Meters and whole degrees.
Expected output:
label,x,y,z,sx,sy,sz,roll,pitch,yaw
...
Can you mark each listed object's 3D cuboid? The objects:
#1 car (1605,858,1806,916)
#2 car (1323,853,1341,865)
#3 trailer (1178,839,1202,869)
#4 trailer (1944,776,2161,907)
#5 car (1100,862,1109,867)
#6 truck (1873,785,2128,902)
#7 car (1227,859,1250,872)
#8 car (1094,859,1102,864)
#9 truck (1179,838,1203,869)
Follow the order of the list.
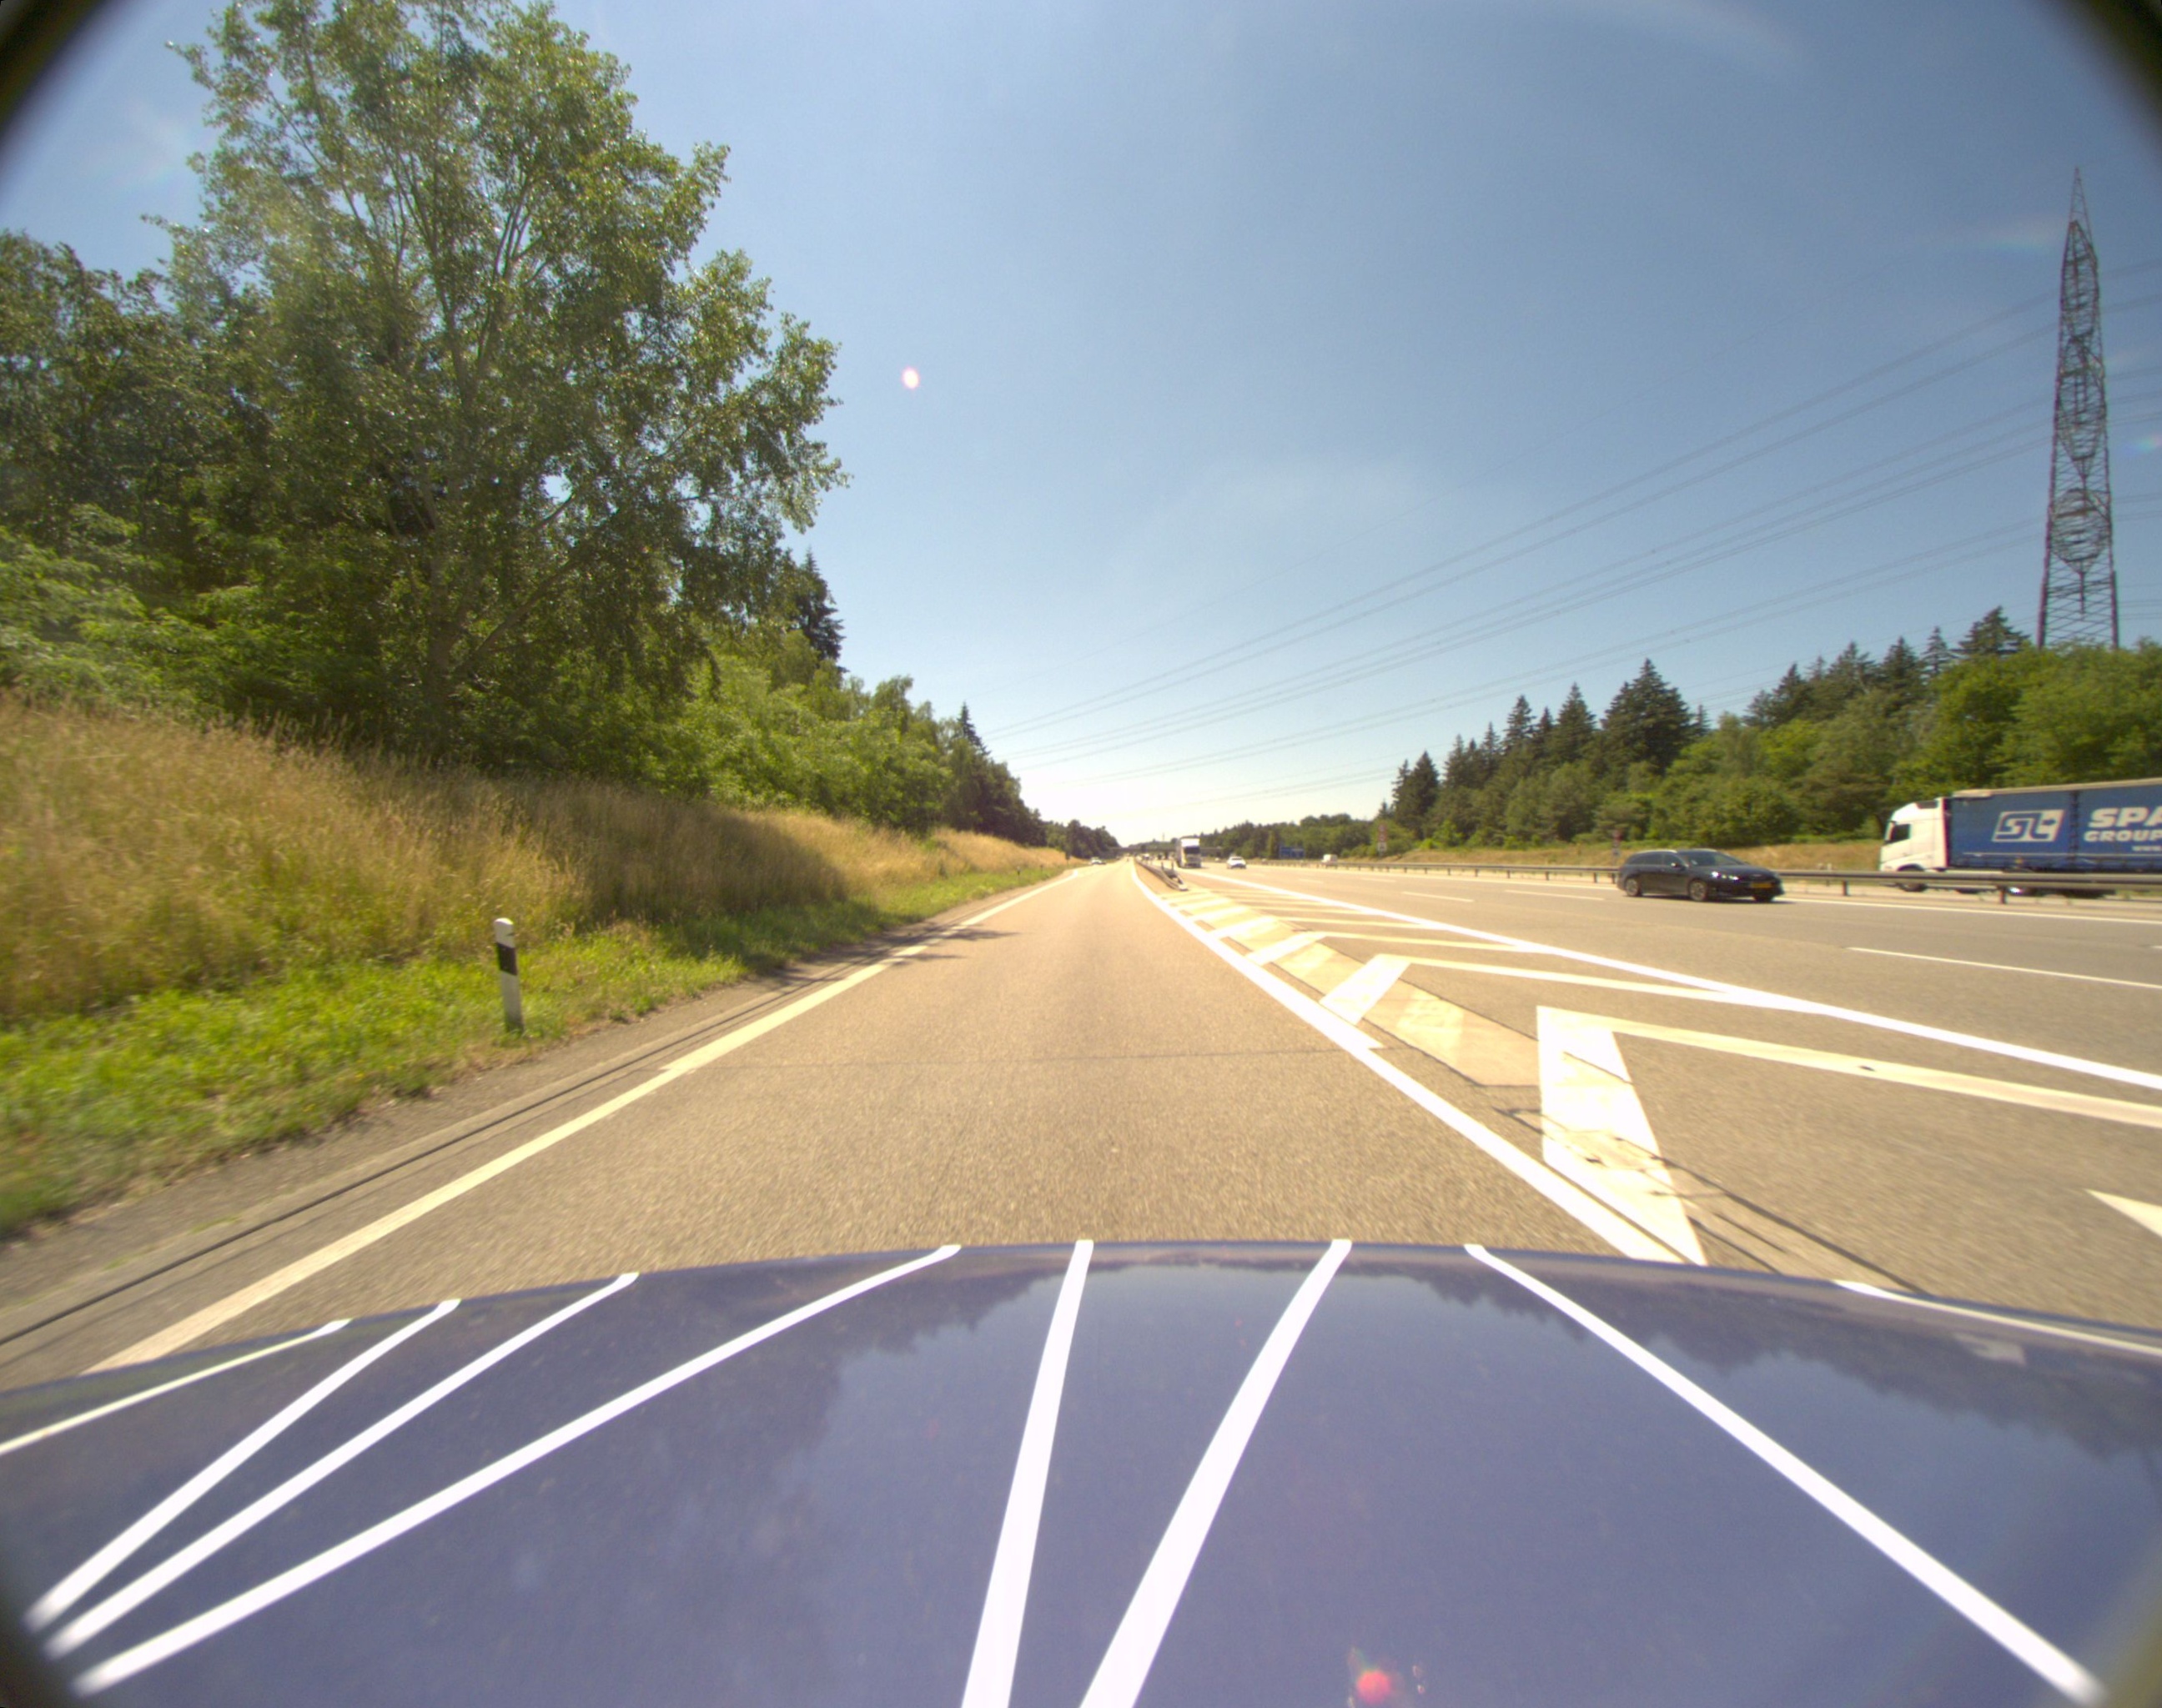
label,x,y,z,sx,sy,sz,roll,pitch,yaw
car,17.455,0.861,21.640,1.836,1.423,5.001,-1,-1,4
car,56.692,1.138,172.035,2.310,2.500,6.459,-1,-1,4
trailer,15.674,0.067,109.720,2.981,4.117,11.702,-1,-1,6
trailer,35.599,-0.376,23.173,3.210,4.148,13.987,1,0,3
car,6.261,2.736,200.360,1.898,1.417,4.263,-2,0,6
truck,35.975,-0.371,30.123,3.210,4.148,5.724,1,0,3
car,19.121,1.361,92.559,1.968,1.495,5.406,-1,0,4
car,5.044,2.053,220.409,1.898,1.417,4.263,-2,0,6
truck,15.026,-0.003,103.786,2.978,4.117,5.352,-1,0,6
